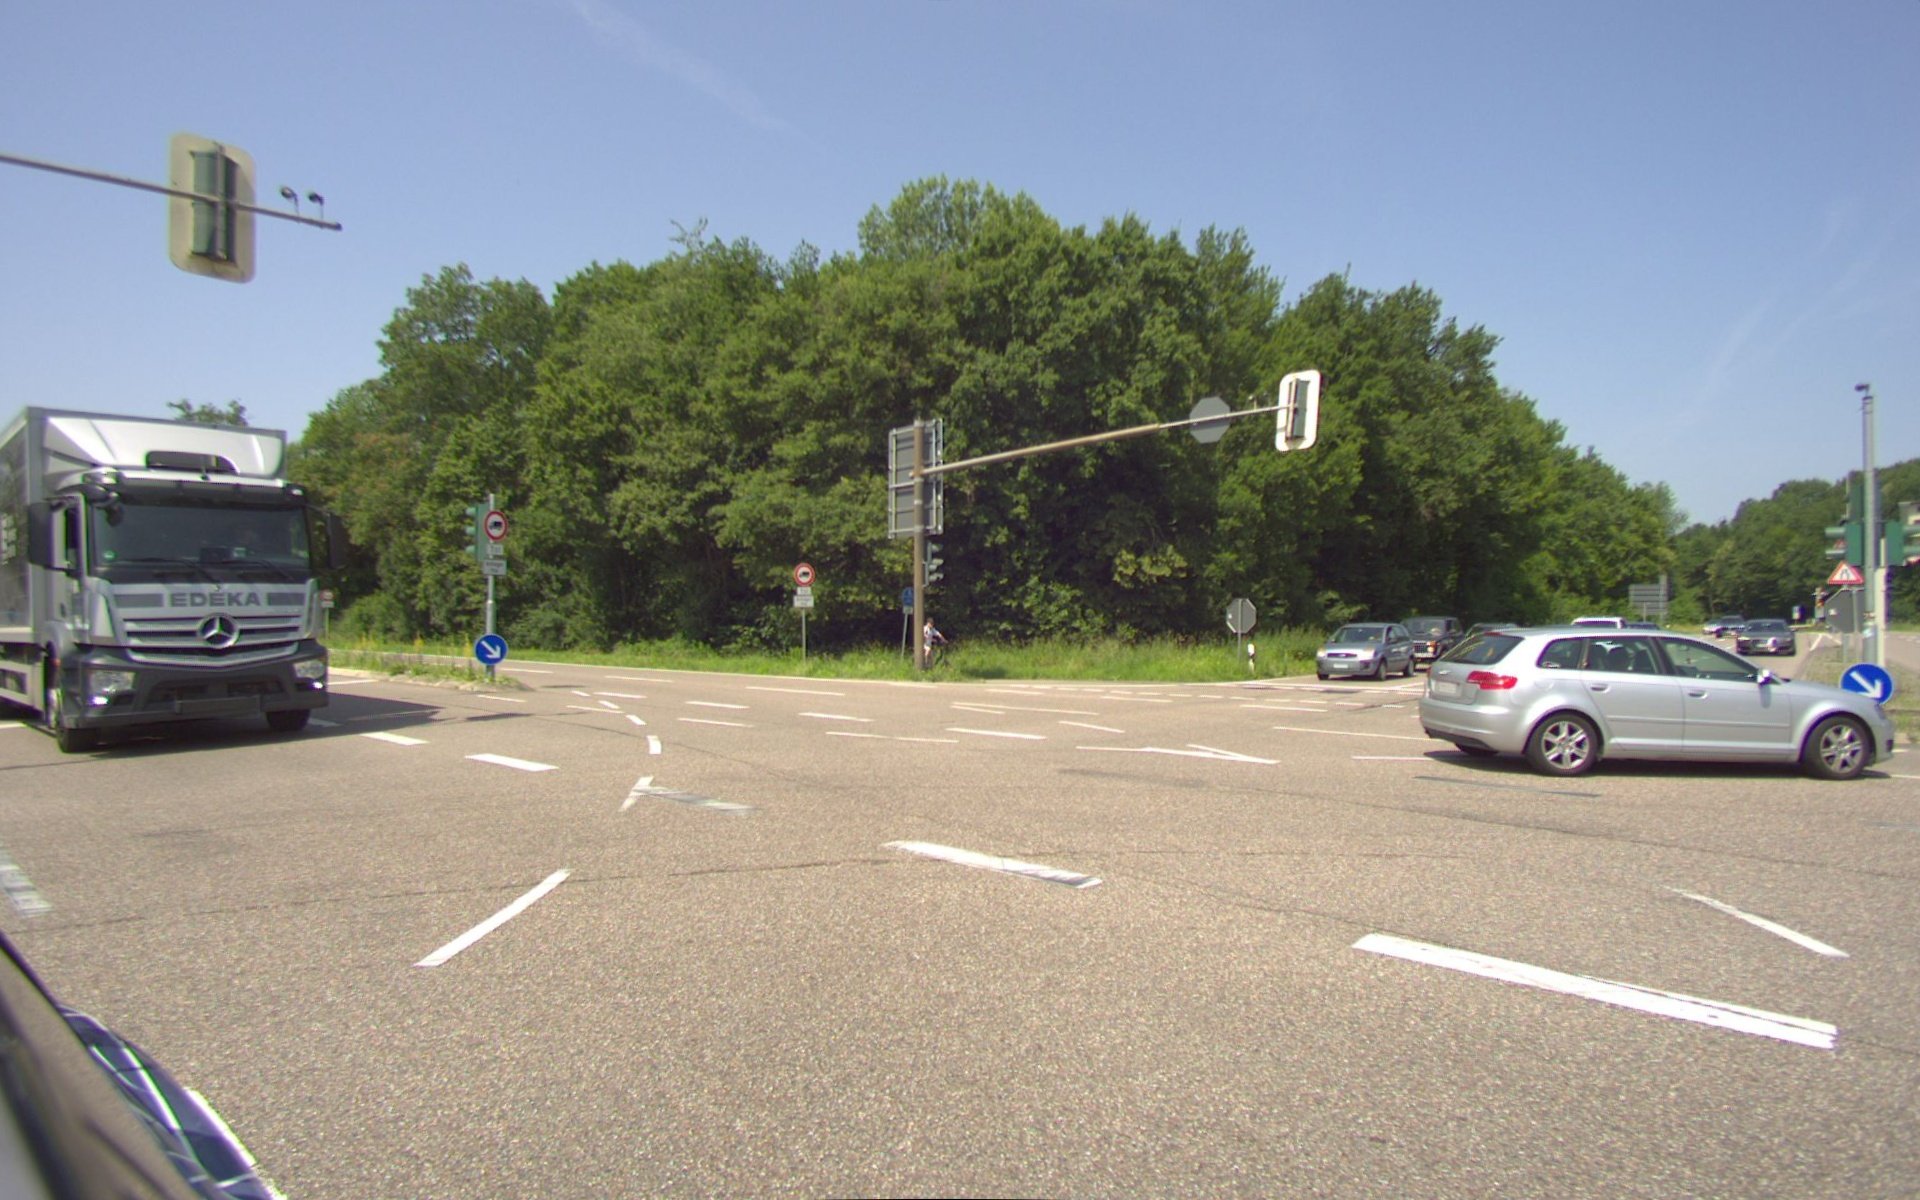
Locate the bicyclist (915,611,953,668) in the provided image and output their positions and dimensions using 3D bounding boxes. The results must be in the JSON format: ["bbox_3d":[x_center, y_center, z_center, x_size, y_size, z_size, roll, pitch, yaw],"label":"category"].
[{"bbox_3d":[-0.697,1.037,26.794,0.651,1.476,0.811,1,-2,-39],"label":"bicyclist"}]

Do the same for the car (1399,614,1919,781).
[{"bbox_3d":[6.782,0.905,10.120,3.959,1.402,1.770,-1,0,1],"label":"car"}]

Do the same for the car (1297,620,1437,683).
[{"bbox_3d":[11.162,1.333,27.569,2.128,1.579,4.755,-1,-2,41],"label":"car"}]

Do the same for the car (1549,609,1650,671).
[{"bbox_3d":[21.326,1.289,33.662,2.066,1.910,4.754,-1,-2,42],"label":"car"}]

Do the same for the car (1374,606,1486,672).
[{"bbox_3d":[14.913,1.190,31.967,1.999,1.912,4.755,-1,-2,41],"label":"car"}]

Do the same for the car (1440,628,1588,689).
[{"bbox_3d":[13.294,1.320,24.143,2.105,1.300,4.754,-1,-2,41],"label":"car"}]

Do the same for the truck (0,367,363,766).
[{"bbox_3d":[-12.307,-0.273,14.634,11.312,3.914,2.718,-1,0,40],"label":"truck"}]

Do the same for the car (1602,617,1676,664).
[{"bbox_3d":[27.224,1.574,40.516,1.998,1.770,4.757,-1,-2,39],"label":"car"}]

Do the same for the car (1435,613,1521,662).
[{"bbox_3d":[18.753,1.316,36.570,1.871,1.648,4.354,-1,-2,40],"label":"car"}]

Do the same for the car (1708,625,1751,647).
[{"bbox_3d":[58.755,2.733,77.232,2.001,1.648,4.750,-1,-2,44],"label":"car"}]

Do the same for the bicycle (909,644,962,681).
[{"bbox_3d":[-0.660,1.637,26.736,0.558,0.930,1.608,1,-2,-39],"label":"bicycle"}]

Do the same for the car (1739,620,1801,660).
[{"bbox_3d":[33.155,1.593,41.401,1.860,1.530,4.757,-1,-2,39],"label":"car"}]
